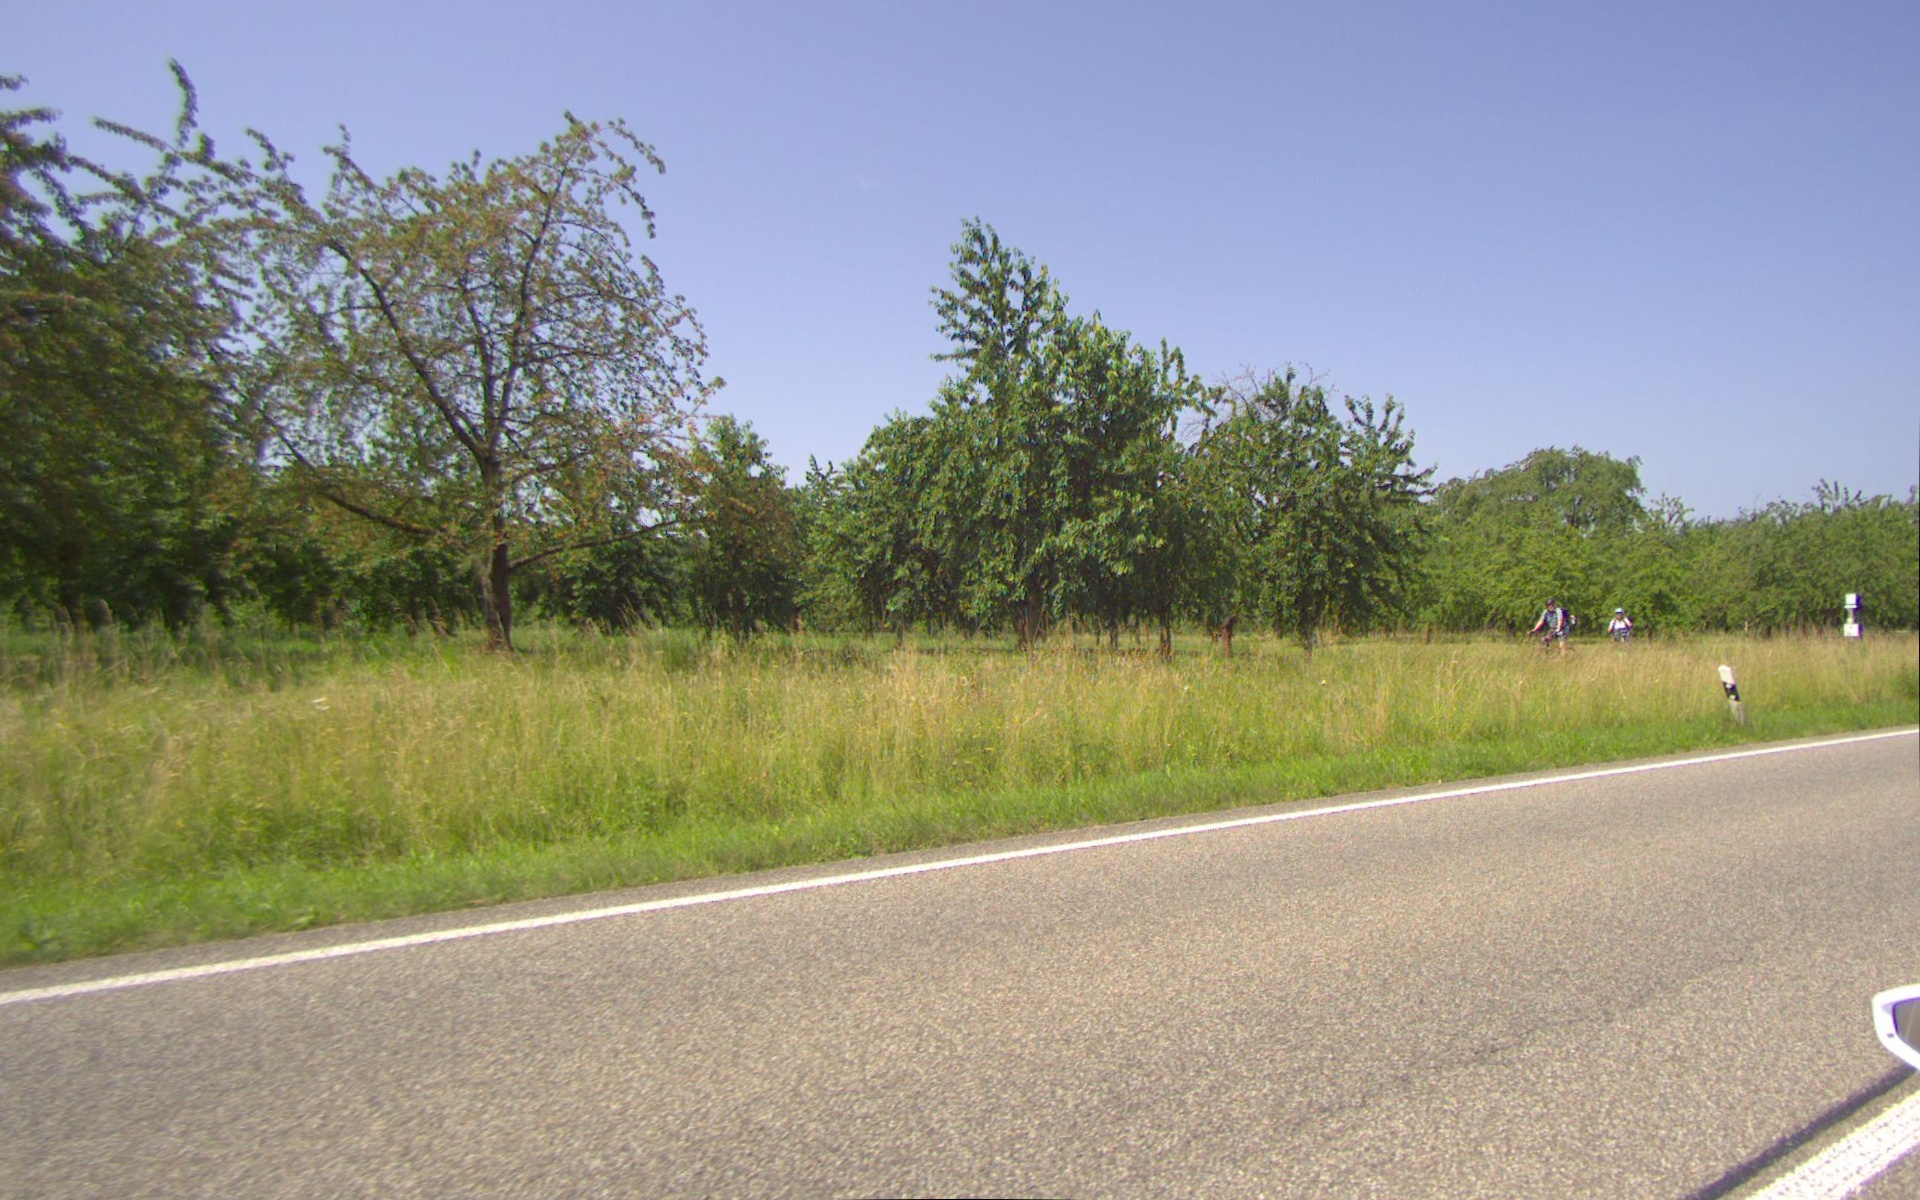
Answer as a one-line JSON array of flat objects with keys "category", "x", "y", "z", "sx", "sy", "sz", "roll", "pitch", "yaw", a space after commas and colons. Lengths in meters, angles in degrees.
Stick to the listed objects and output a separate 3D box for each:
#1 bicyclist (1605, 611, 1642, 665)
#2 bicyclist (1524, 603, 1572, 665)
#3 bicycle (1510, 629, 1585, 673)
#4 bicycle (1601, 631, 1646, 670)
[{"category": "bicyclist", "x": 18.520, "y": 1.055, "z": 28.054, "sx": 0.729, "sy": 1.474, "sz": 0.863, "roll": 1, "pitch": -1, "yaw": 26}, {"category": "bicyclist", "x": 13.887, "y": 0.808, "z": 23.723, "sx": 0.853, "sy": 1.433, "sz": 0.638, "roll": 2, "pitch": -1, "yaw": -30}, {"category": "bicycle", "x": 13.870, "y": 1.208, "z": 23.715, "sx": 1.932, "sy": 1.002, "sz": 0.646, "roll": 2, "pitch": -1, "yaw": -30}, {"category": "bicycle", "x": 18.525, "y": 1.391, "z": 28.074, "sx": 0.729, "sy": 1.002, "sz": 2.223, "roll": 1, "pitch": -1, "yaw": 26}]
